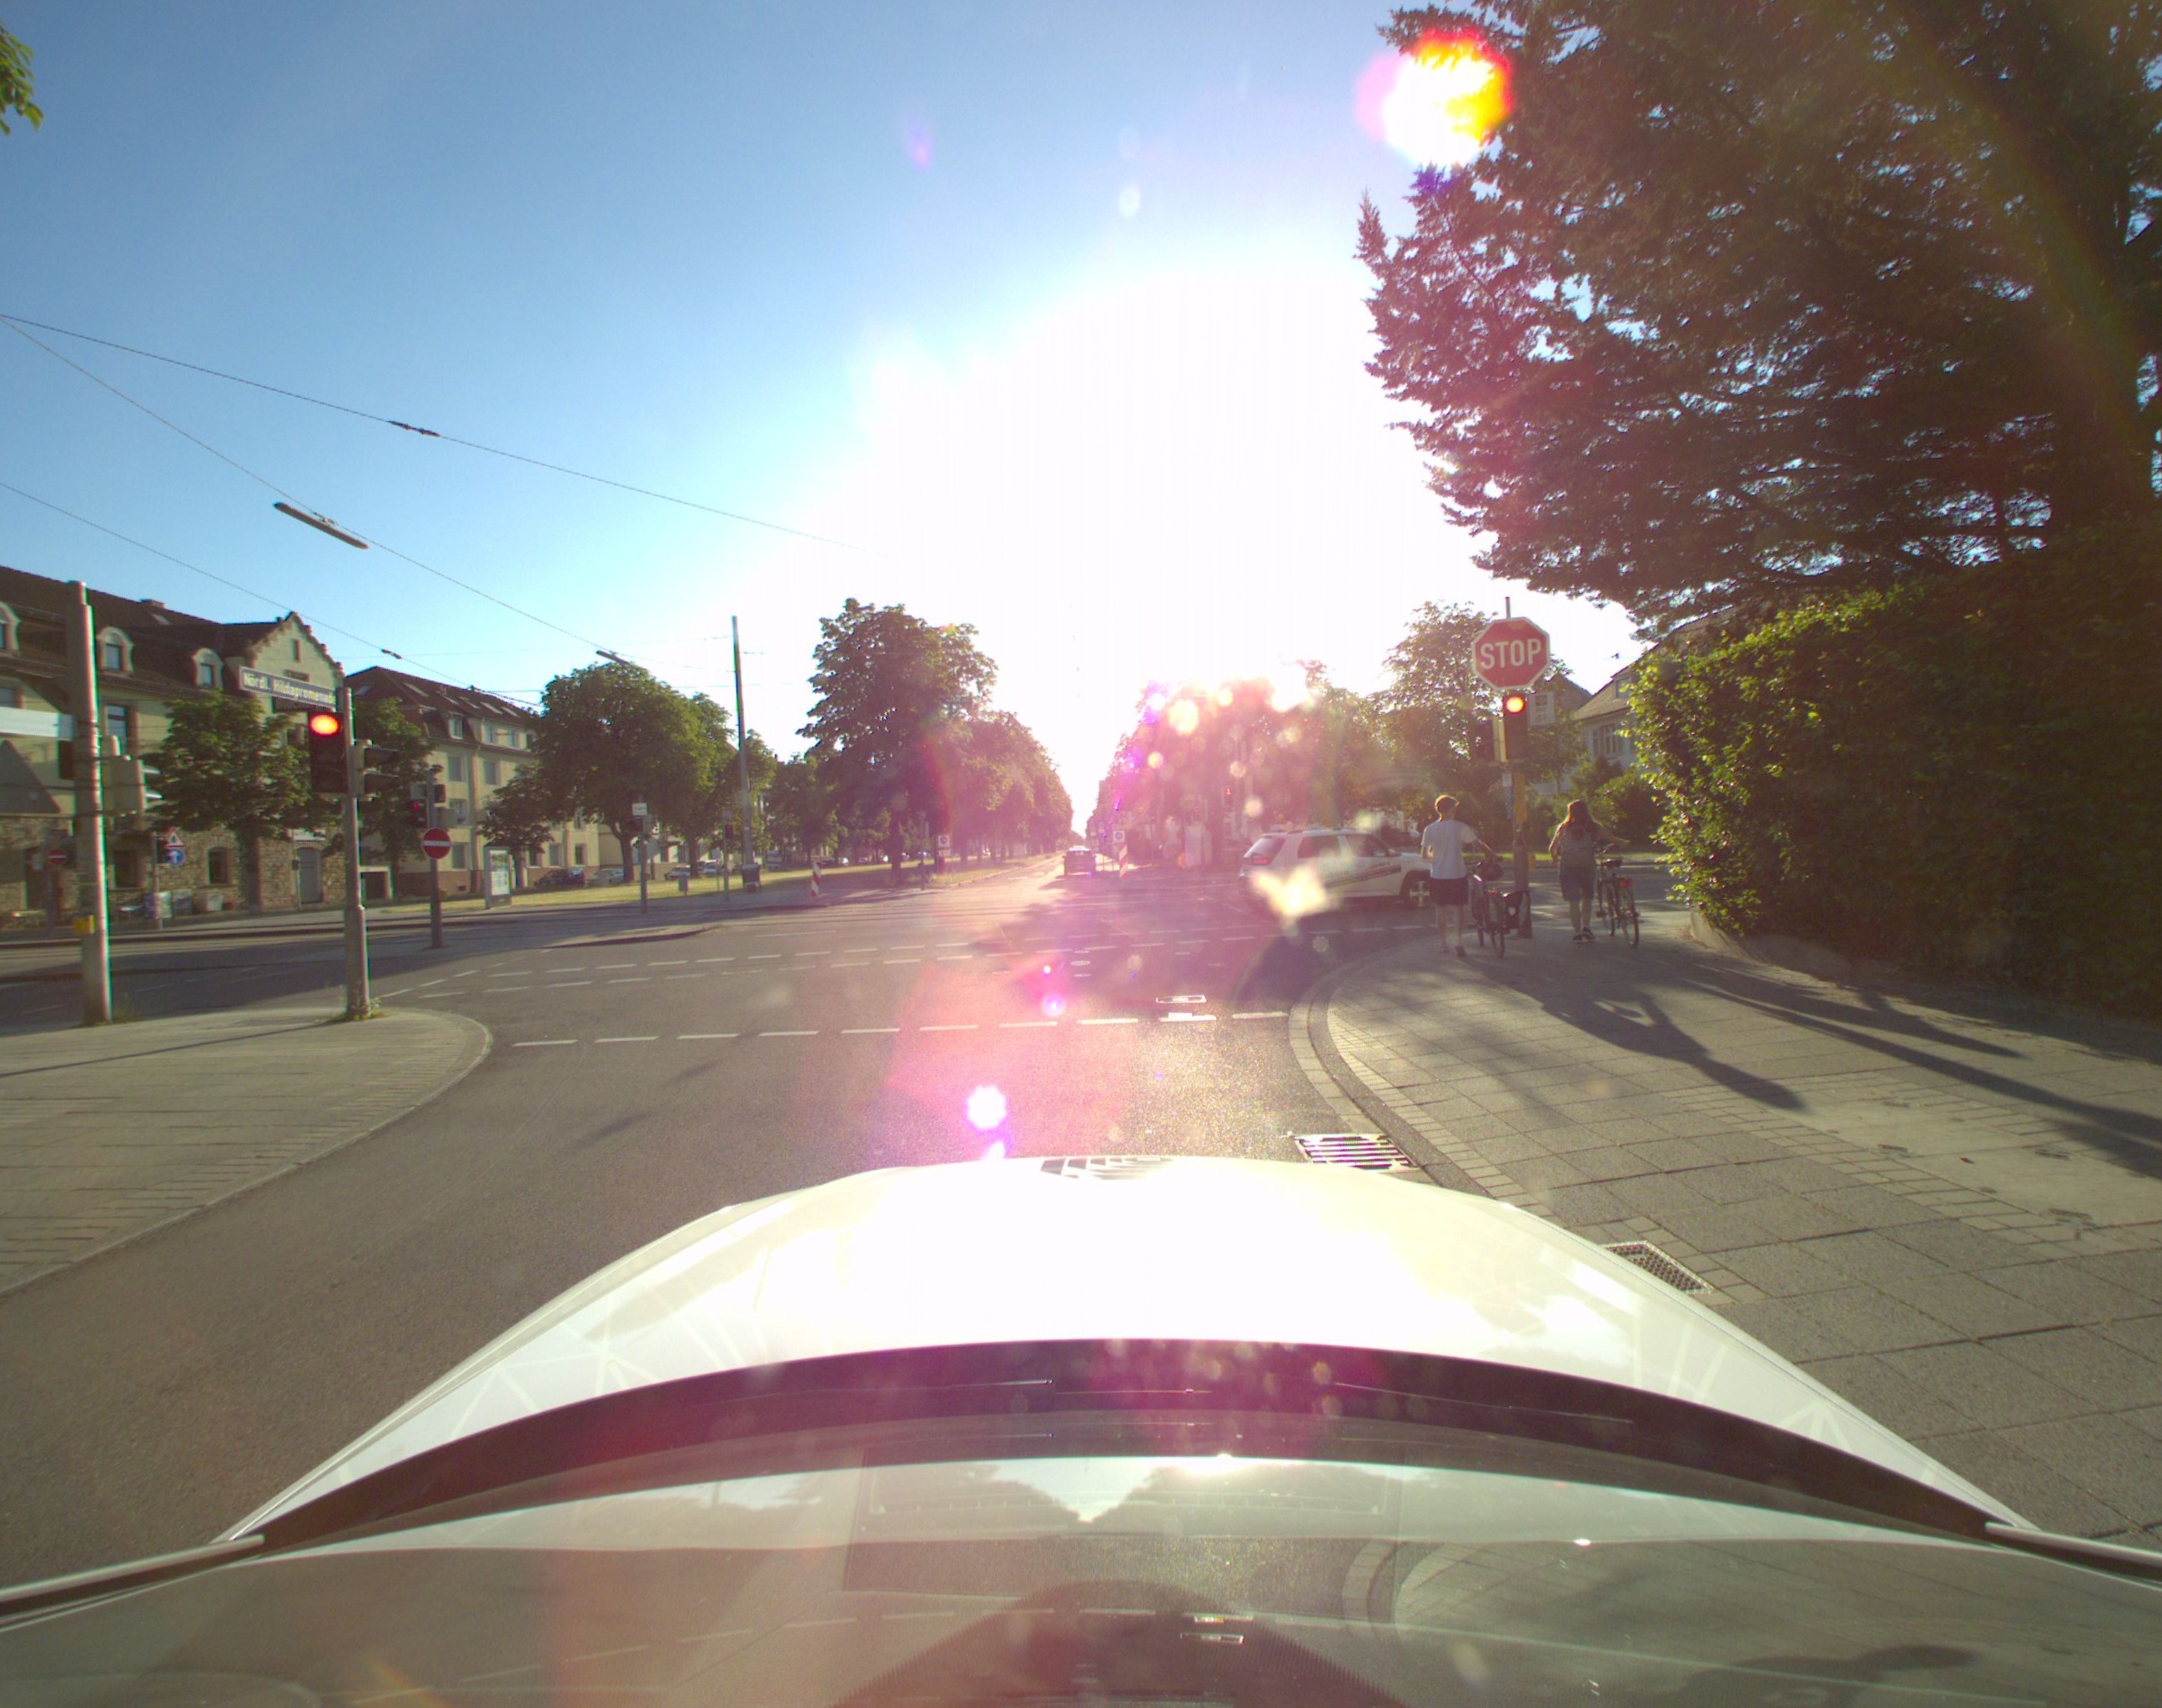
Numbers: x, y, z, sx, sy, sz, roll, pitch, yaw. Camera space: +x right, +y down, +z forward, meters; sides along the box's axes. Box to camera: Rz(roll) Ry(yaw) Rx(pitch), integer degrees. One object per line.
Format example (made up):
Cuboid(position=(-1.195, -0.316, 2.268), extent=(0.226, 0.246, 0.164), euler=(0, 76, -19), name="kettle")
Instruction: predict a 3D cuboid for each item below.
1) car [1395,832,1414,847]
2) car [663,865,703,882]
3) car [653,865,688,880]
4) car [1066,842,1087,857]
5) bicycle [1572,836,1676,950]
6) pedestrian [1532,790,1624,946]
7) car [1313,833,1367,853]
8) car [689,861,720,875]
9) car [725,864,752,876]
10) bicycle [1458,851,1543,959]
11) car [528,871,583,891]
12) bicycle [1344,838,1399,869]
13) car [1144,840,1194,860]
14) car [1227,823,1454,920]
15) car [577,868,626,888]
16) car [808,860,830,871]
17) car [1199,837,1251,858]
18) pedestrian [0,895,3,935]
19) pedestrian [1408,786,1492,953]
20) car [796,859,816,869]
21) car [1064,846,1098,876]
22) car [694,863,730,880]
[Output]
Cuboid(position=(33.123, -1.502, 83.425), extent=(1.649, 1.417, 3.563), euler=(-2, 0, 24), name="car")
Cuboid(position=(-37.262, 1.800, 76.316), extent=(1.732, 1.427, 3.793), euler=(-2, 1, 1), name="car")
Cuboid(position=(-43.914, 1.991, 87.200), extent=(1.732, 1.427, 3.793), euler=(-3, 0, 1), name="car")
Cuboid(position=(-0.407, -0.450, 78.330), extent=(1.839, 1.393, 3.829), euler=(-2, 1, 1), name="car")
Cuboid(position=(6.101, 0.392, 9.233), extent=(0.483, 1.142, 1.605), euler=(-5, 0, 18), name="bicycle")
Cuboid(position=(5.748, 0.156, 9.454), extent=(0.663, 1.708, 0.626), euler=(-6, 1, 20), name="pedestrian")
Cuboid(position=(20.900, -0.893, 65.713), extent=(3.838, 1.427, 1.595), euler=(-2, 0, -4), name="car")
Cuboid(position=(-43.103, 1.574, 93.277), extent=(1.732, 1.427, 3.793), euler=(-2, 0, 1), name="car")
Cuboid(position=(-43.525, 2.016, 103.566), extent=(1.732, 1.427, 3.793), euler=(-2, 0, 1), name="car")
Cuboid(position=(4.855, 0.543, 9.518), extent=(0.483, 1.097, 1.799), euler=(-5, -1, 17), name="bicycle")
Cuboid(position=(-43.111, 2.211, 66.869), extent=(1.729, 1.397, 3.799), euler=(-2, 0, 6), name="car")
Cuboid(position=(11.648, -0.018, 32.724), extent=(1.946, 1.132, 0.620), euler=(-3, 0, 2), name="bicycle")
Cuboid(position=(7.008, -0.315, 64.999), extent=(3.767, 1.427, 1.744), euler=(-2, 2, 0), name="car")
Cuboid(position=(4.946, 0.273, 15.683), extent=(3.867, 1.551, 1.606), euler=(-3, 2, -12), name="car")
Cuboid(position=(-43.071, 2.138, 73.235), extent=(1.729, 1.427, 3.800), euler=(-2, 2, 6), name="car")
Cuboid(position=(-37.700, 1.588, 117.268), extent=(1.732, 1.427, 3.793), euler=(-2, 0, 1), name="car")
Cuboid(position=(11.507, -0.513, 65.218), extent=(3.767, 1.525, 1.744), euler=(-2, 2, 0), name="car")
Cuboid(position=(-45.341, 2.567, 33.568), extent=(0.808, 1.642, 0.727), euler=(-2, 0, 8), name="pedestrian")
Cuboid(position=(4.417, 0.186, 9.818), extent=(0.665, 1.865, 0.886), euler=(-6, -2, 19), name="pedestrian")
Cuboid(position=(-43.081, 1.509, 127.651), extent=(1.732, 1.427, 3.793), euler=(-2, 0, 1), name="car")
Cuboid(position=(0.038, 0.350, 44.037), extent=(1.634, 1.450, 3.310), euler=(-2, 1, 3), name="car")
Cuboid(position=(-37.313, 1.762, 82.450), extent=(1.732, 1.427, 3.793), euler=(-2, 2, 1), name="car")
